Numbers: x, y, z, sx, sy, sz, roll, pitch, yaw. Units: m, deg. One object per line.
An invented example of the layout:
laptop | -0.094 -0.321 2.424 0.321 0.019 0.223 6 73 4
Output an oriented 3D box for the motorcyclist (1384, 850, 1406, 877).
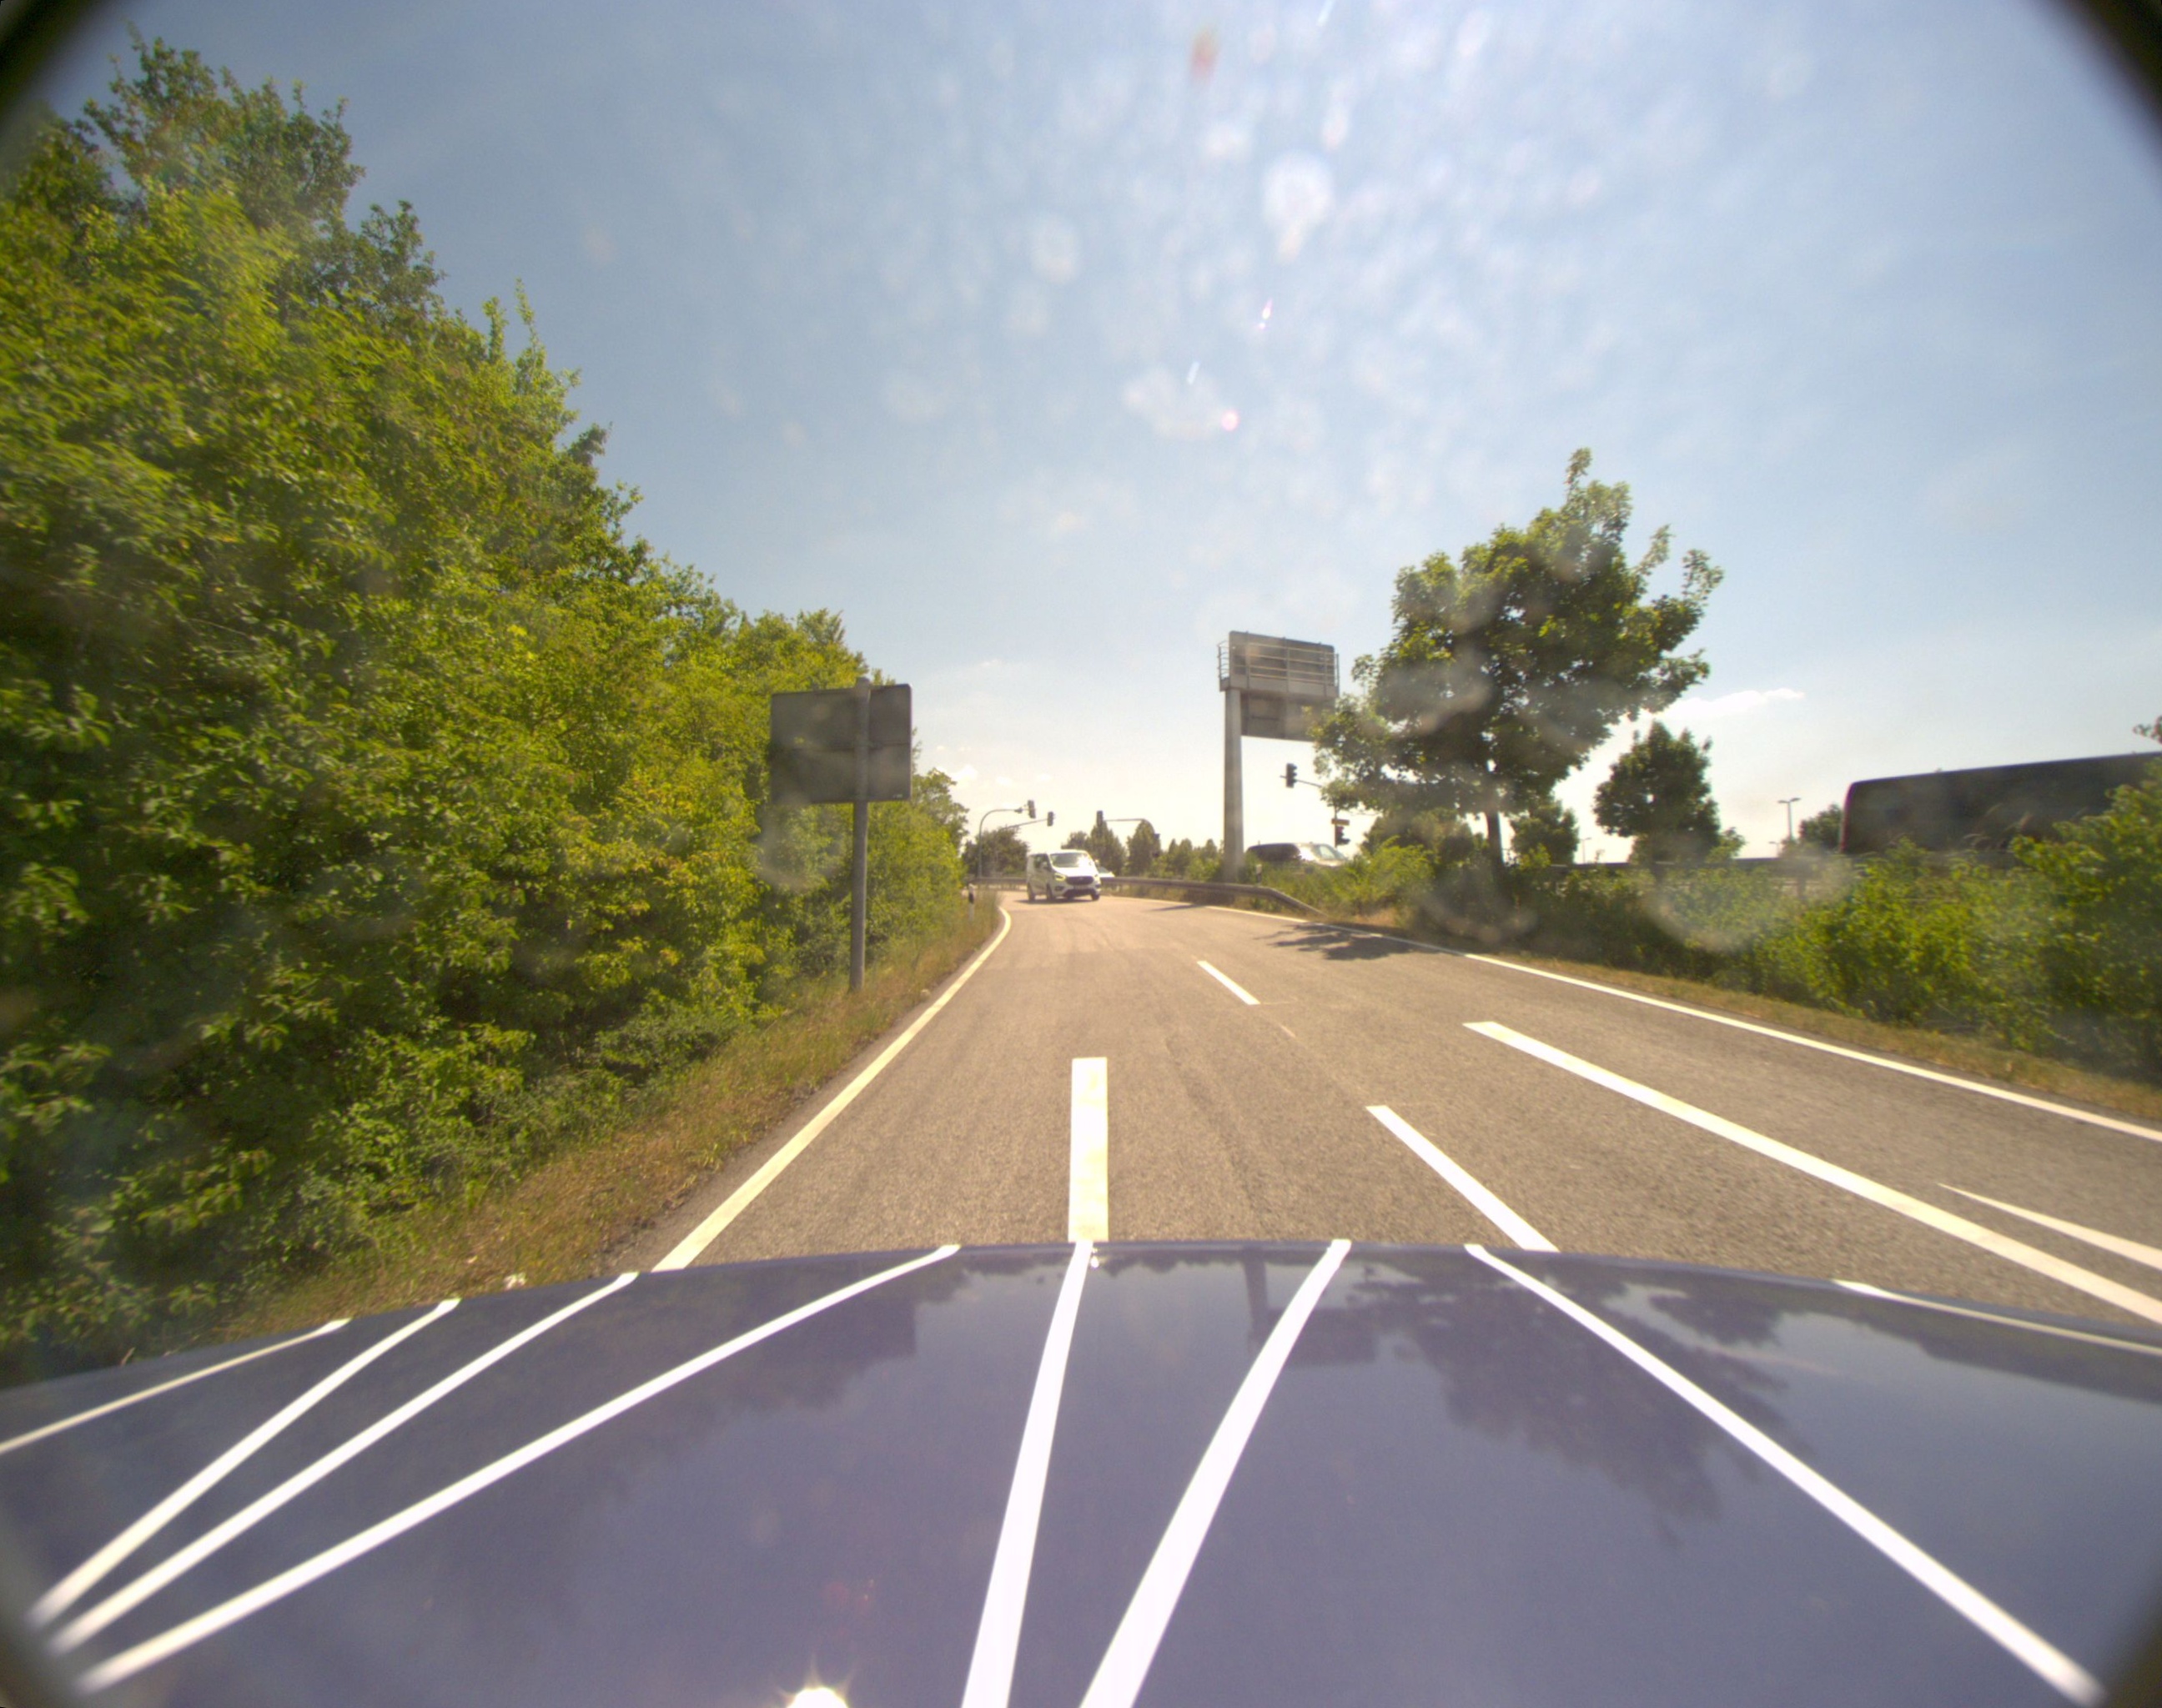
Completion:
motorcyclist | 15.704 0.484 37.963 0.678 1.294 0.722 3 -2 -29

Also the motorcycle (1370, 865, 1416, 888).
motorcycle | 15.602 1.129 38.042 0.565 1.073 2.280 2 -2 -29

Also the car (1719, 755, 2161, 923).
car | 12.938 -0.205 11.064 2.127 1.926 5.404 -1 1 -13

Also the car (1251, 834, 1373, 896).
car | 7.857 0.410 26.335 1.946 1.907 4.528 2 -2 -15

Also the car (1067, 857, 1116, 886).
car | 0.581 0.994 45.370 1.791 1.542 3.856 -4 1 -16

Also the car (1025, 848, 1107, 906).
car | -0.749 0.813 30.768 2.033 2.072 5.864 -1 1 -14
